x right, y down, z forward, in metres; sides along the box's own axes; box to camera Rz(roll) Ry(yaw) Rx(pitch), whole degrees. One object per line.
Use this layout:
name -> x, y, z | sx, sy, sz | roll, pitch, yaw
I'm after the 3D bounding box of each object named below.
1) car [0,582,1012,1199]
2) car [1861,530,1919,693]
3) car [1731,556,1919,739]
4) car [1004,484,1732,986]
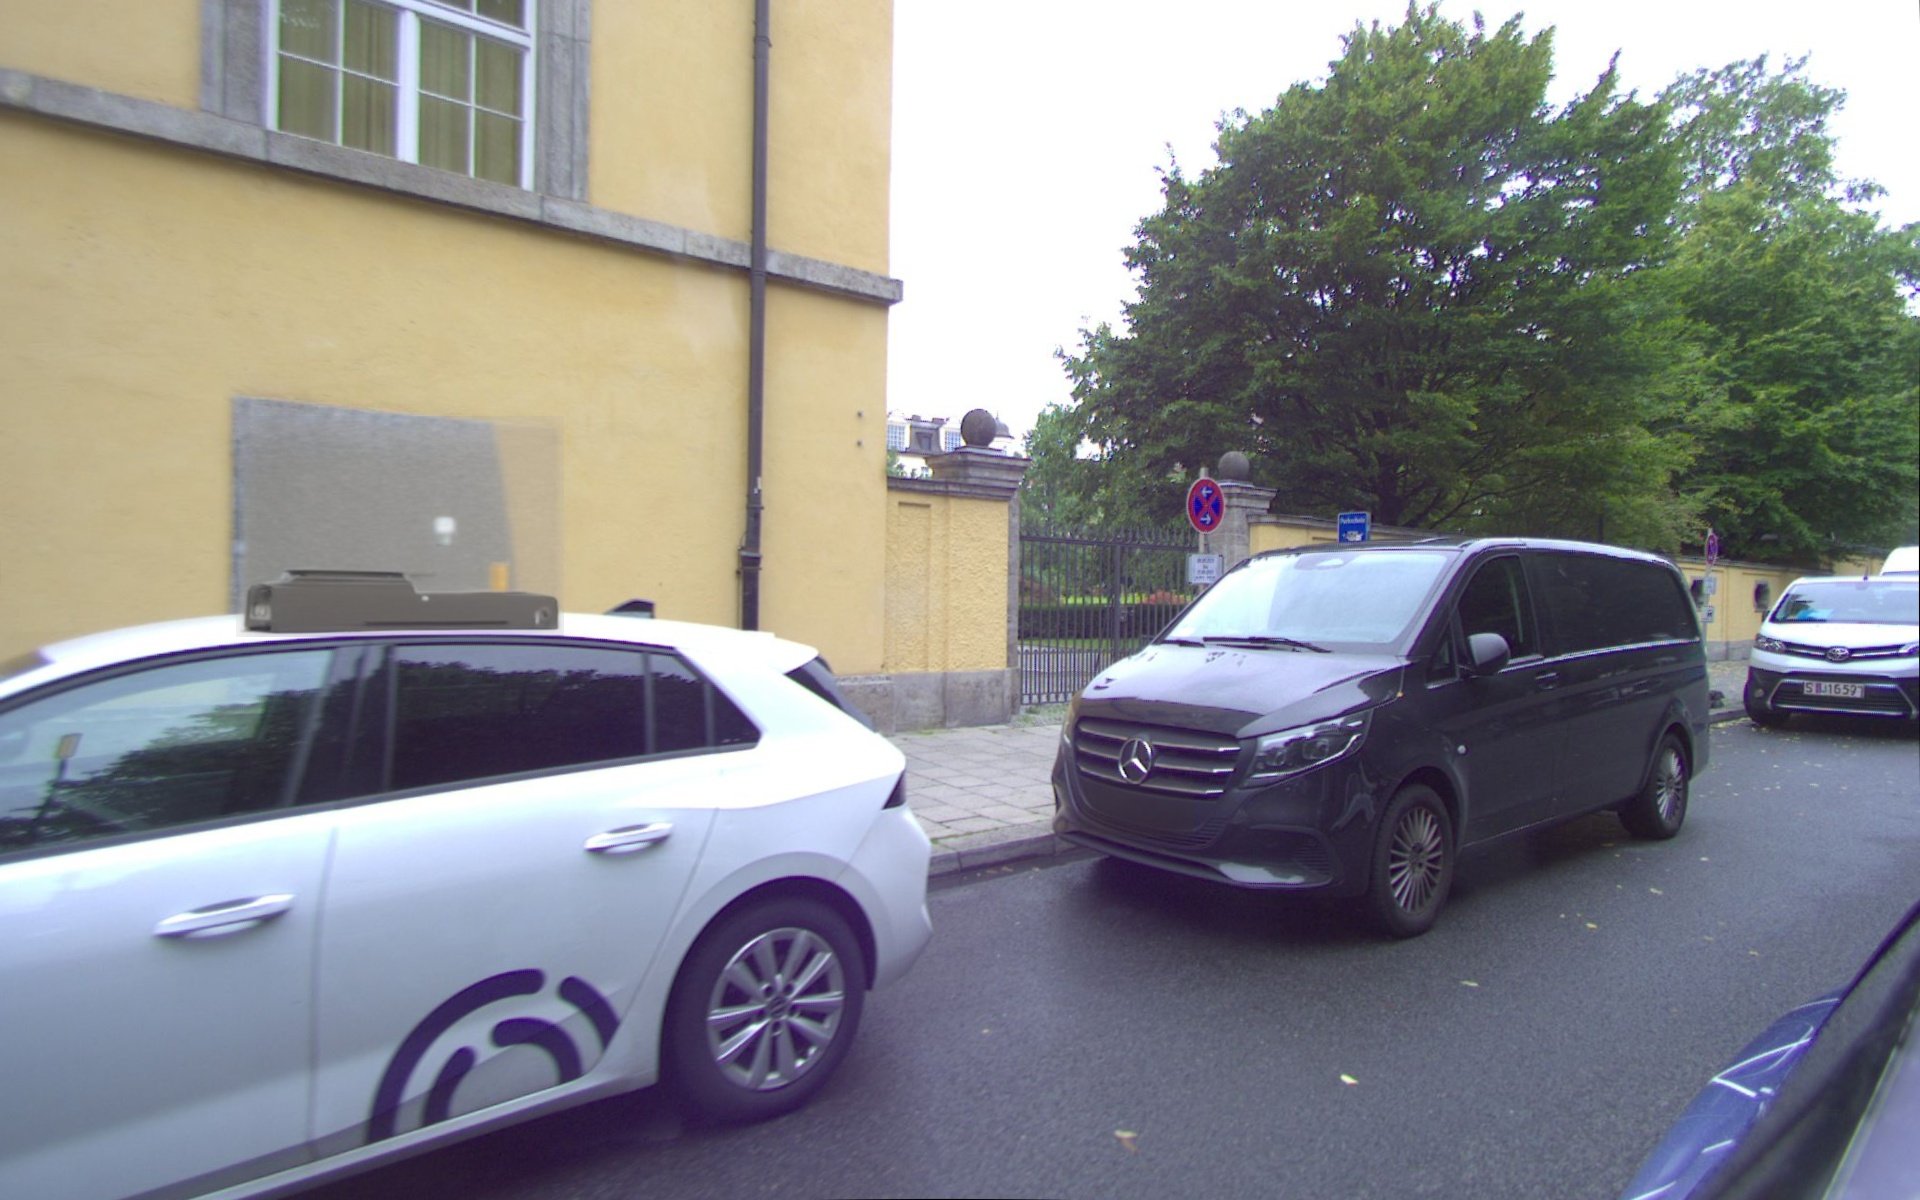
car -> -2.042, 0.692, 2.774 | 4.177, 1.476, 1.875 | 0, 1, -38
car -> 17.309, 0.143, 17.118 | 5.635, 2.518, 2.101 | -1, 1, -38
car -> 11.672, 0.503, 12.771 | 5.072, 1.931, 2.017 | 0, -1, -40
car -> 2.727, 0.482, 6.071 | 4.896, 1.892, 1.875 | 0, 1, -38
